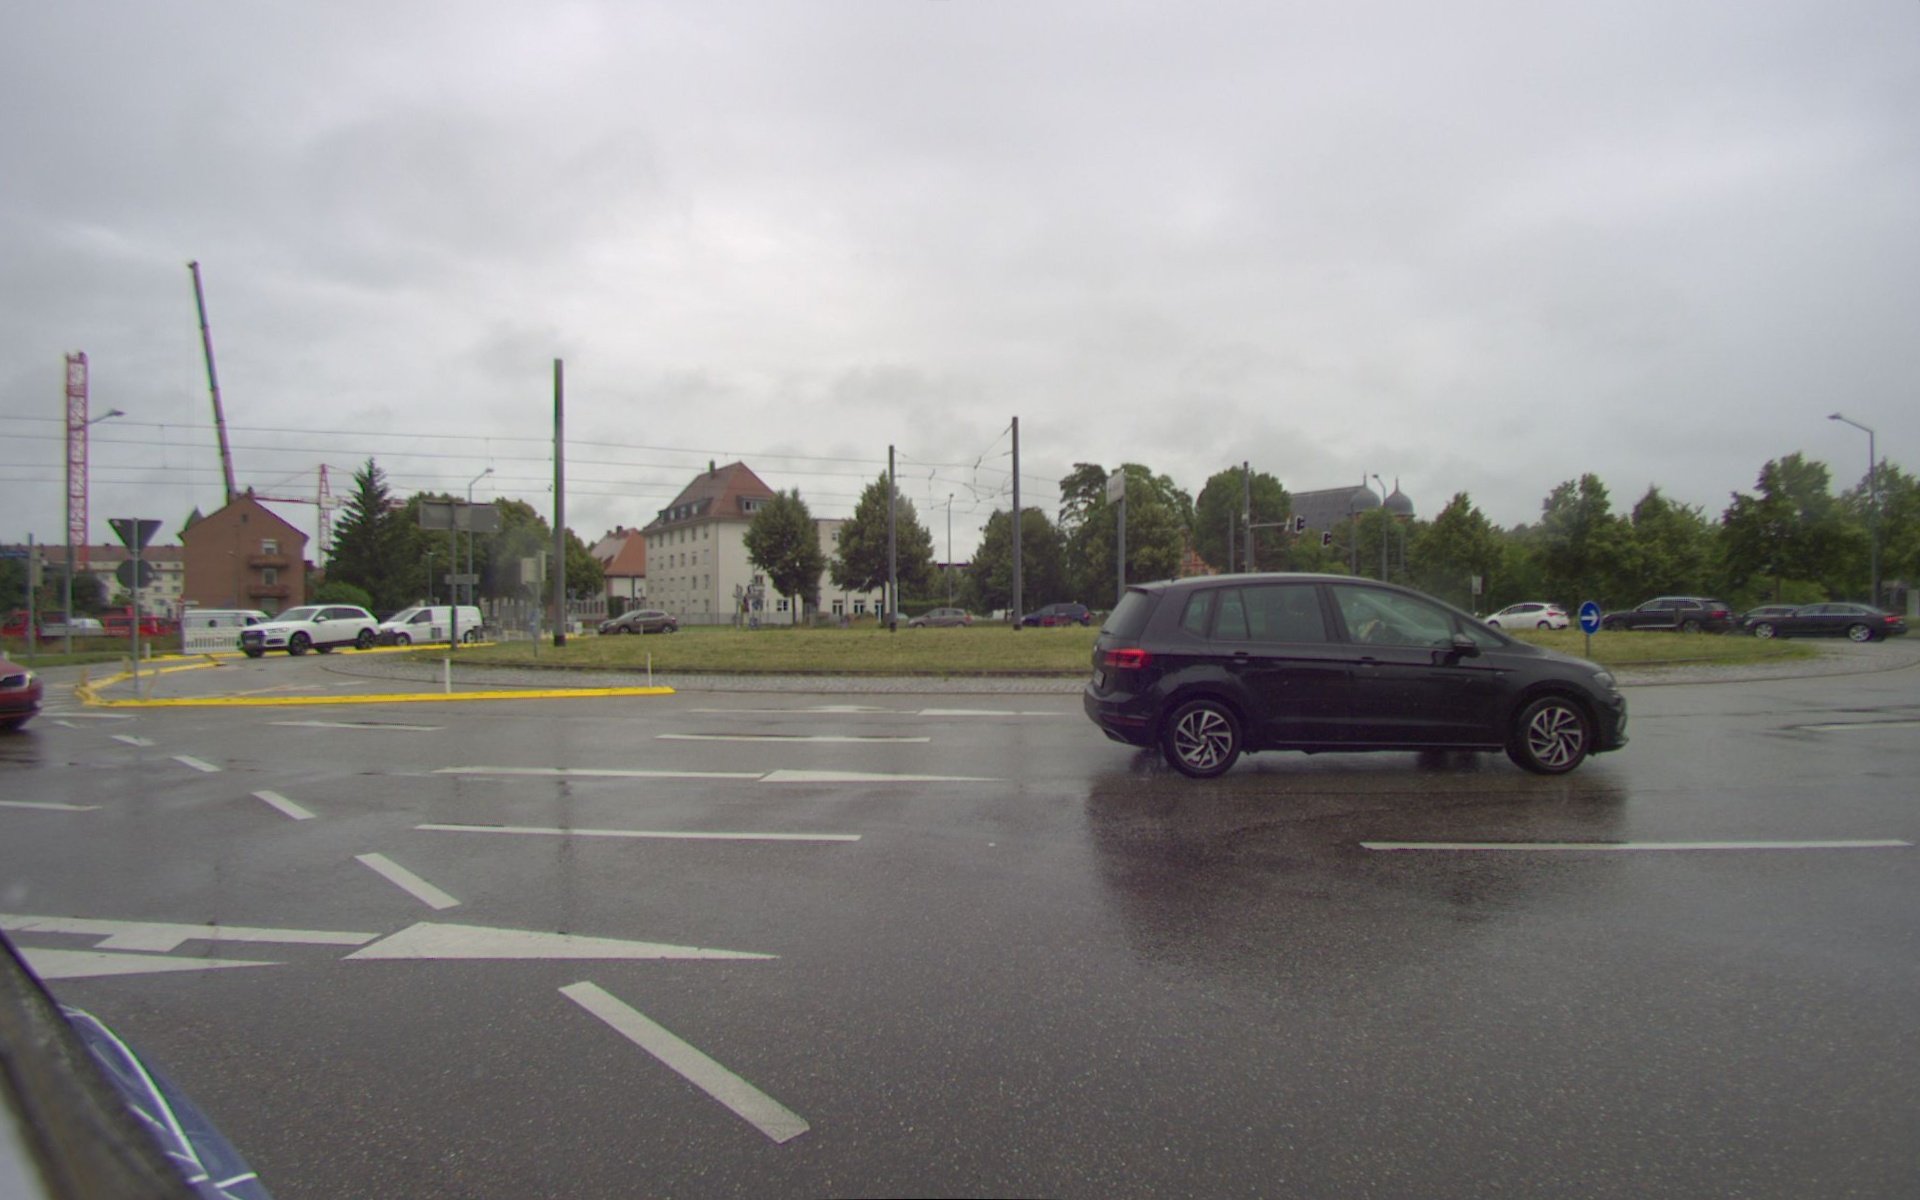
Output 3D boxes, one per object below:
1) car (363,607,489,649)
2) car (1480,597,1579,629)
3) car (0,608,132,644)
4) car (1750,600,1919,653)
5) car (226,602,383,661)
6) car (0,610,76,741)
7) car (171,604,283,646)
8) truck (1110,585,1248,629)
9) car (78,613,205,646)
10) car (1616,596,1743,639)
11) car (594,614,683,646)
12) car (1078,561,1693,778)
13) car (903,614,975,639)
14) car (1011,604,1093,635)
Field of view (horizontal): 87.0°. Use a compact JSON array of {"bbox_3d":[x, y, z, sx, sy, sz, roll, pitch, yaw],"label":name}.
[{"bbox_3d":[-24.836,1.253,47.230,1.826,1.655,4.969,1,2,33],"label":"car"},{"bbox_3d":[30.652,0.697,54.569,1.758,1.660,4.408,-1,0,-26],"label":"car"},{"bbox_3d":[-53.531,1.536,60.259,6.331,2.028,2.359,0,1,-4],"label":"car"},{"bbox_3d":[31.311,0.896,36.287,1.760,1.660,4.404,-1,2,-37],"label":"car"},{"bbox_3d":[-22.821,1.036,35.486,1.759,1.757,4.850,0,2,11],"label":"car"},{"bbox_3d":[-13.200,0.883,12.023,4.267,1.470,1.784,0,1,10],"label":"car"},{"bbox_3d":[-53.607,1.805,74.093,6.331,2.961,2.359,0,1,-4],"label":"car"},{"bbox_3d":[14.420,0.413,67.009,8.743,2.731,1.984,1,2,24],"label":"truck"},{"bbox_3d":[-54.144,1.912,67.052,6.331,2.029,2.359,-1,-1,-4],"label":"car"},{"bbox_3d":[31.272,0.711,44.126,1.758,1.660,4.161,-1,2,-29],"label":"car"},{"bbox_3d":[-17.880,1.643,56.401,4.480,1.503,1.613,-1,2,-43],"label":"car"},{"bbox_3d":[3.218,0.515,8.364,4.274,1.529,1.788,-1,0,2],"label":"car"},{"bbox_3d":[-1.355,1.692,65.480,4.476,1.503,1.615,0,1,-8],"label":"car"},{"bbox_3d":[5.521,1.133,60.603,4.811,1.757,1.773,0,1,9],"label":"car"}]
